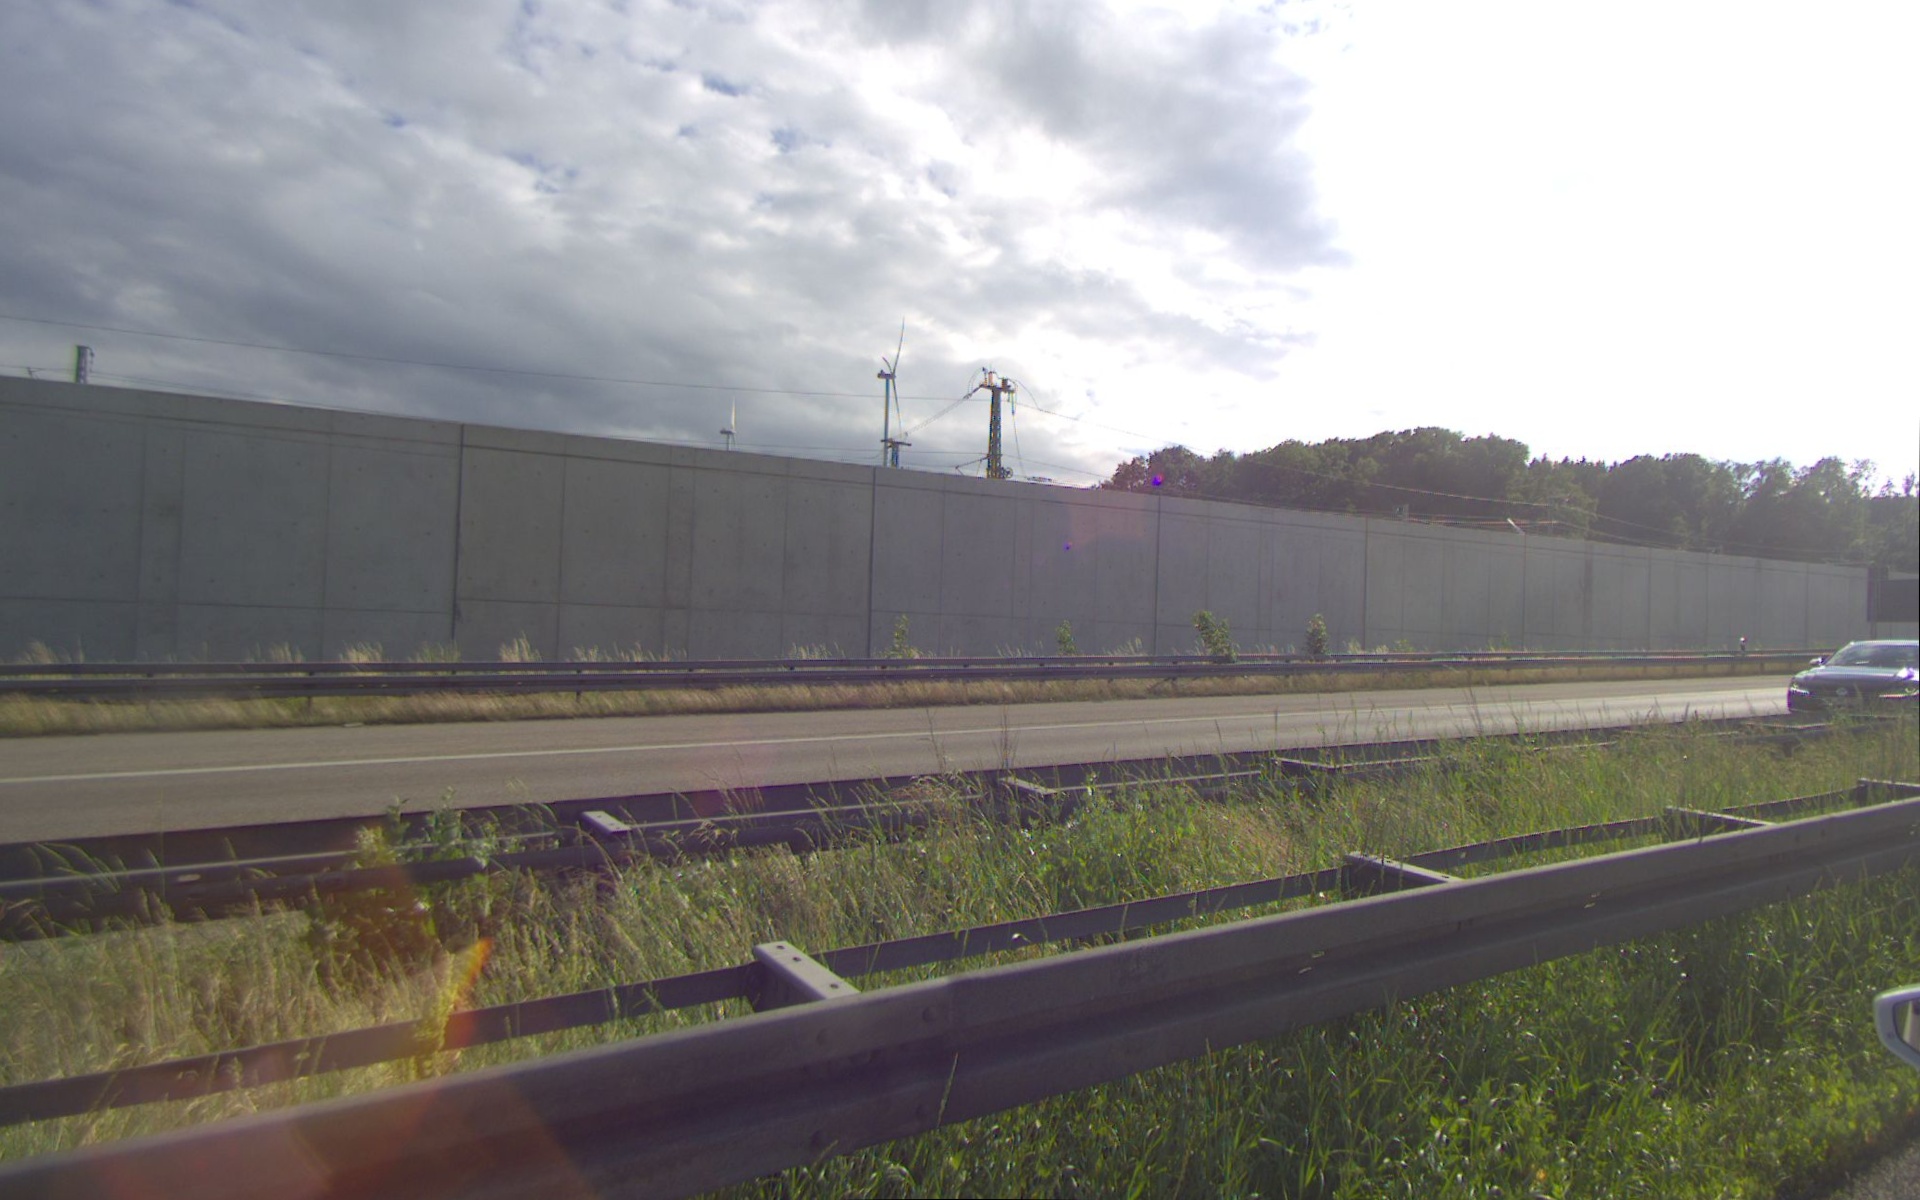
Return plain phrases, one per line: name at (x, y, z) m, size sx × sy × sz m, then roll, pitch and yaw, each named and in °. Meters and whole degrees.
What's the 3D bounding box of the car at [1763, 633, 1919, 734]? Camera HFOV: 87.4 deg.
car at (15.925, 1.359, 17.182) m, size 4.397 × 1.452 × 1.984 m, roll 2°, pitch 0°, yaw -30°
